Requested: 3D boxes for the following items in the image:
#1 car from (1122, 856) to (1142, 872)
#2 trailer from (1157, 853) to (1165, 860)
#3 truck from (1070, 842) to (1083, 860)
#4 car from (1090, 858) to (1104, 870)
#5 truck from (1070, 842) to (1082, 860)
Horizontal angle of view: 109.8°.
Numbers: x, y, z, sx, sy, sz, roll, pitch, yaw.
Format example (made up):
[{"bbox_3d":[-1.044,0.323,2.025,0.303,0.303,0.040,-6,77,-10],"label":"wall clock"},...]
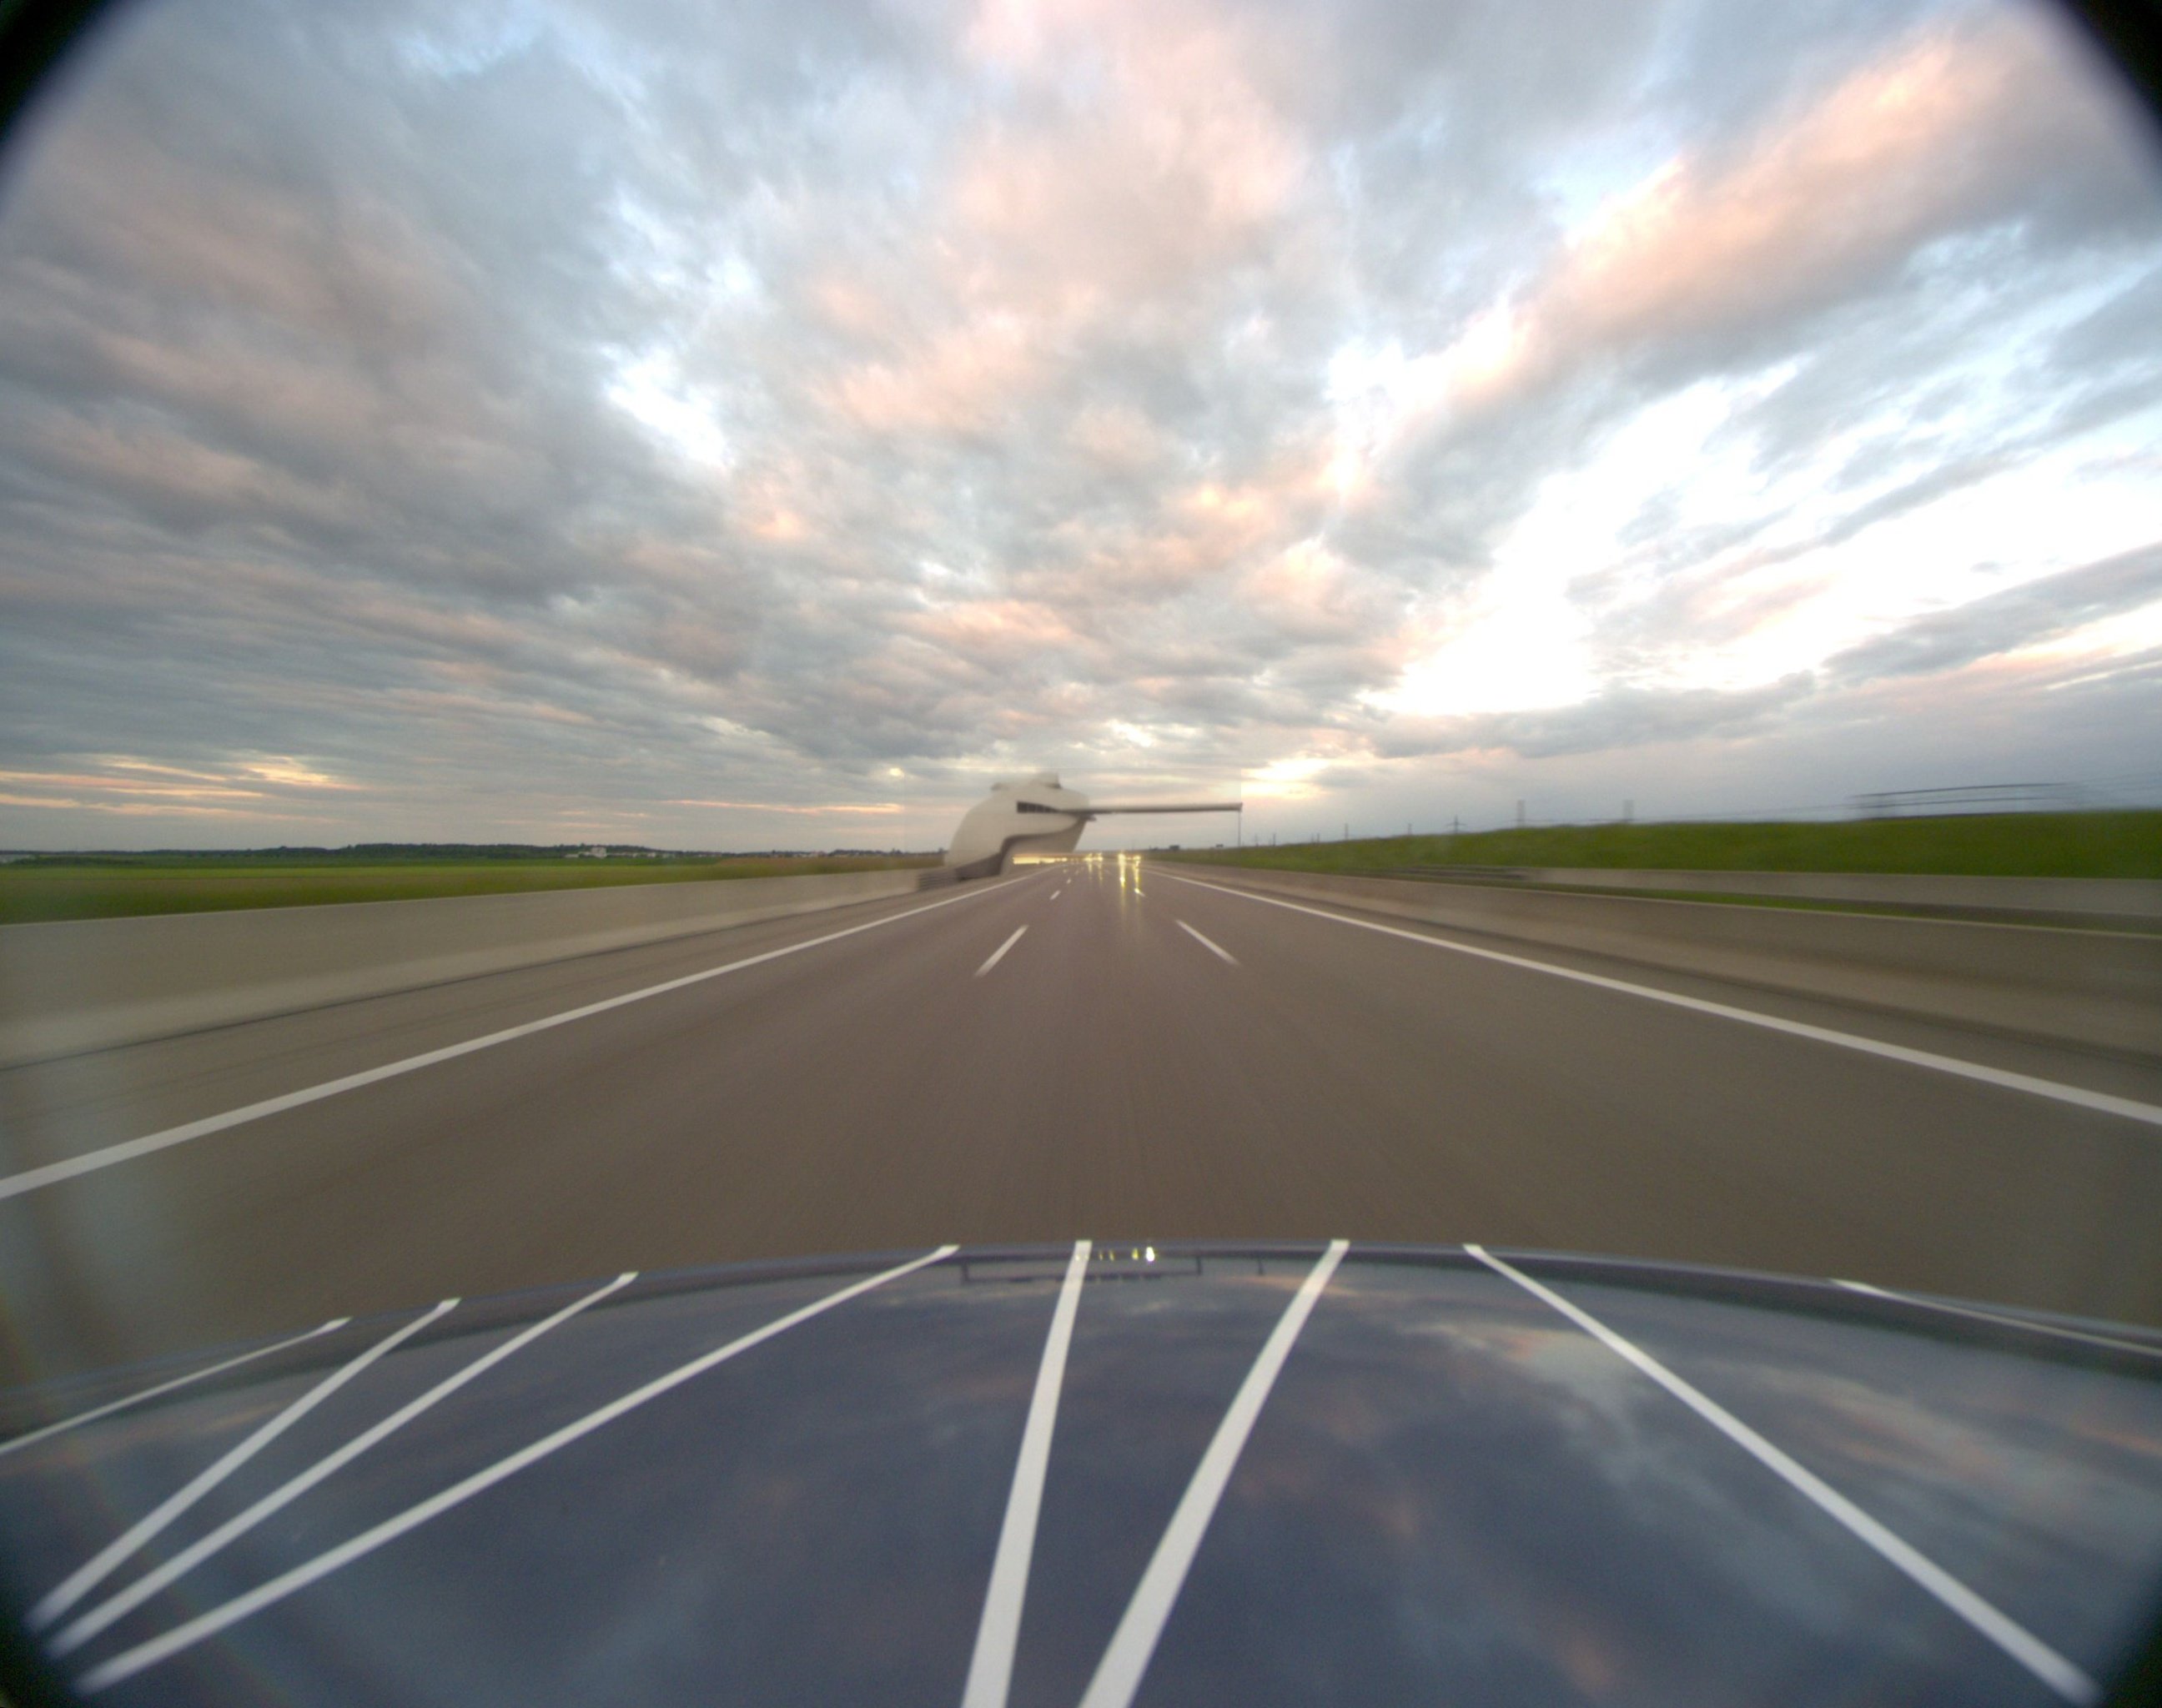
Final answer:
[{"bbox_3d":[5.627,1.116,84.035,1.998,1.652,4.000,-2,0,2],"label":"car"},{"bbox_3d":[18.744,0.599,178.365,1.689,1.543,3.929,0,0,1],"label":"trailer"},{"bbox_3d":[-0.957,-0.682,184.922,2.596,3.999,12.987,-1,0,2],"label":"truck"},{"bbox_3d":[2.356,1.452,114.867,1.998,1.652,4.851,-2,0,1],"label":"car"},{"bbox_3d":[-1.138,-0.669,178.591,2.596,3.999,5.860,-1,0,2],"label":"truck"}]
